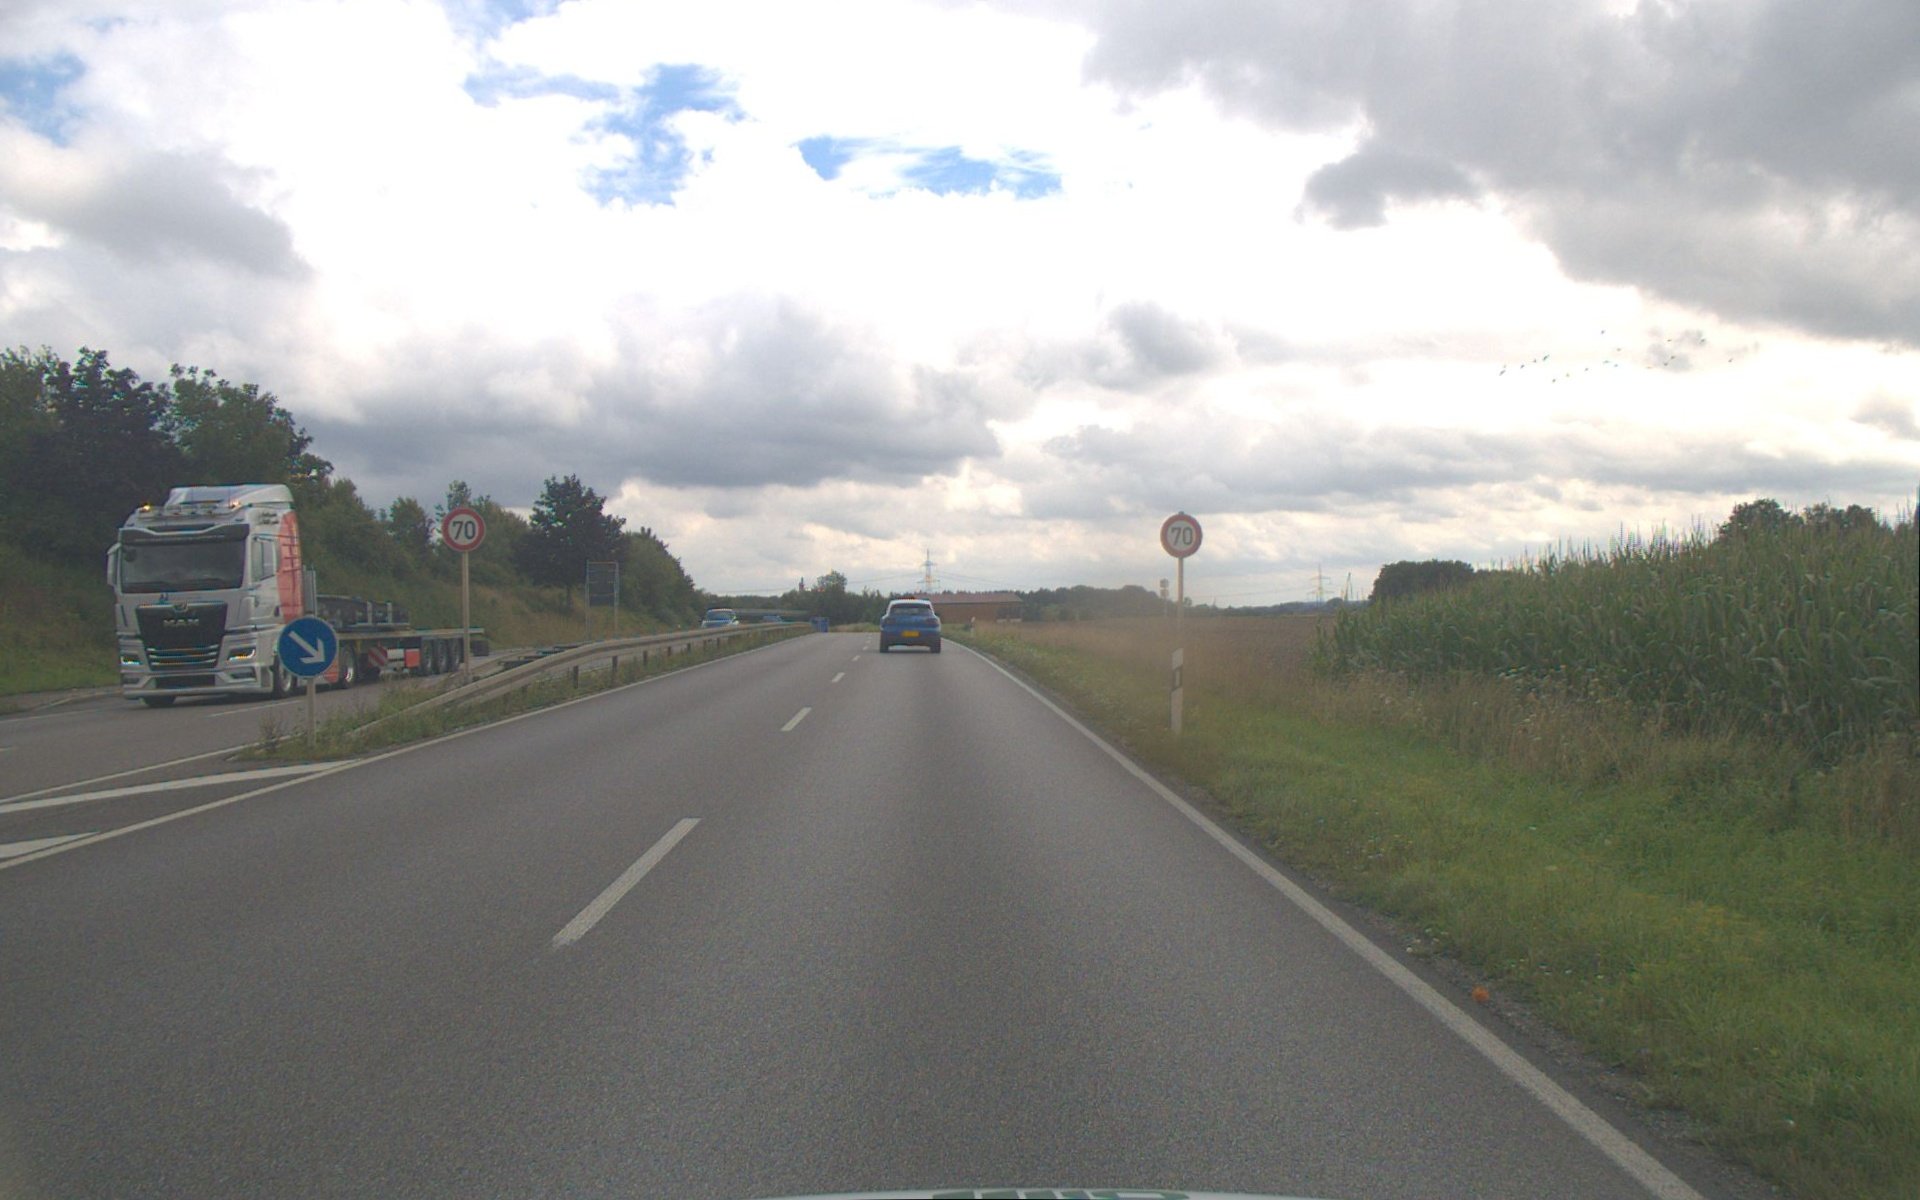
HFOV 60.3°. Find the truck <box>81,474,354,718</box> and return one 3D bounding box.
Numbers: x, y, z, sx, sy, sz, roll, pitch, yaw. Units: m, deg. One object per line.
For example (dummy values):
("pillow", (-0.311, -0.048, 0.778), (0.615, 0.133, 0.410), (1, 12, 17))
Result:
("truck", (-13.497, -0.097, 30.574), (2.746, 4.067, 5.284), (-1, 0, -2))

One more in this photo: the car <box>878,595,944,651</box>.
("car", (-1.587, 0.701, 52.421), (1.992, 1.689, 4.541), (0, 0, -2))

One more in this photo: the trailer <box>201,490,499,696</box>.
("trailer", (-13.885, -0.195, 39.237), (2.719, 4.016, 12.979), (-1, 1, -3))

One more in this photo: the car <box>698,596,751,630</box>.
("car", (-11.431, 0.602, 80.411), (2.043, 1.545, 4.192), (-1, 1, -1))
